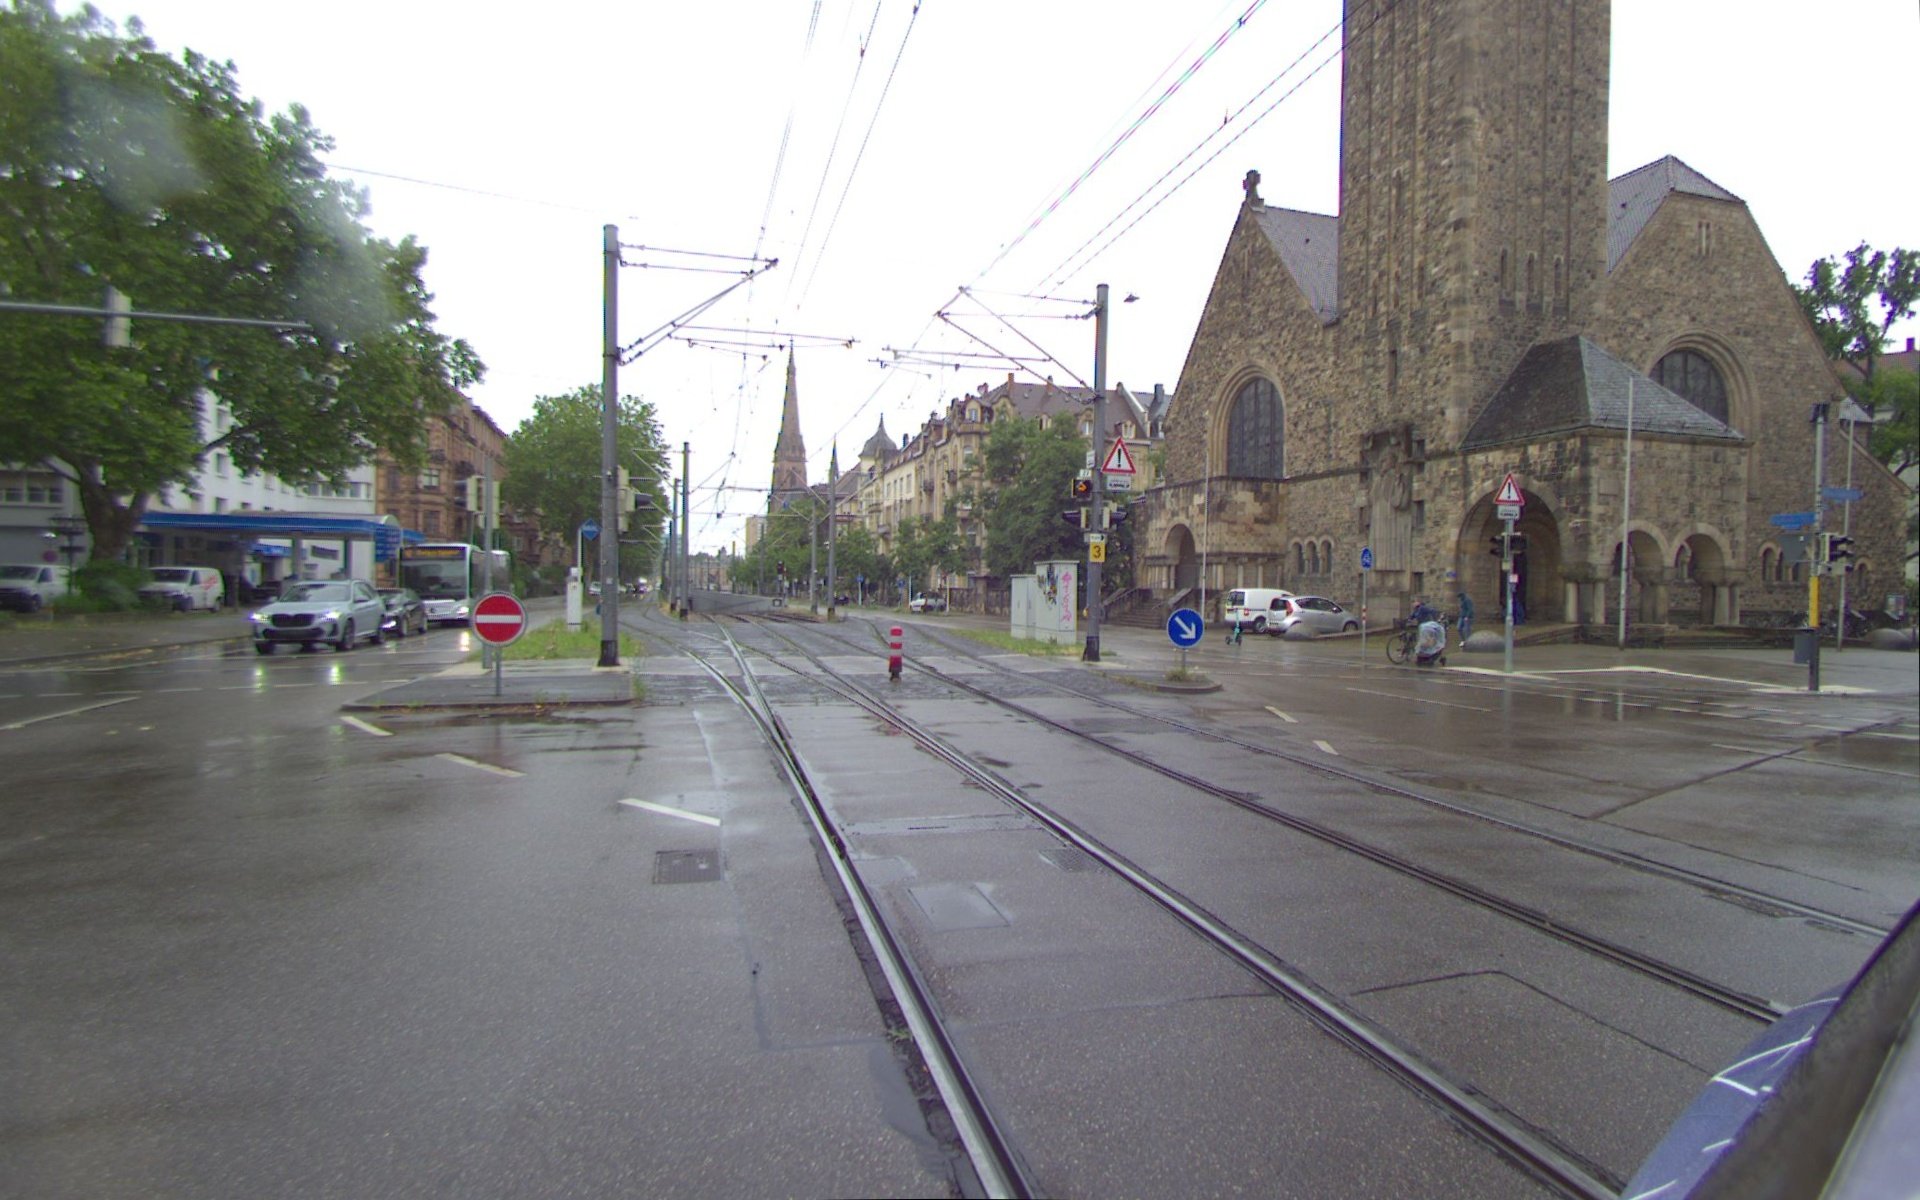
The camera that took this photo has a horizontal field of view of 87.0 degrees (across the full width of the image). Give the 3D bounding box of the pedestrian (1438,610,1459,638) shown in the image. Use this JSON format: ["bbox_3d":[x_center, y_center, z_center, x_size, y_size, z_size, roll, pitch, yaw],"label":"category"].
[{"bbox_3d":[15.942,0.781,33.041,0.388,0.895,0.457,1,0,-21],"label":"pedestrian"}]

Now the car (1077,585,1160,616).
[{"bbox_3d":[8.467,0.022,54.260,3.915,1.638,2.004,0,1,-17],"label":"car"}]

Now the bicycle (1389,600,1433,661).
[{"bbox_3d":[11.482,0.751,25.726,0.531,1.485,1.913,1,0,39],"label":"bicycle"}]

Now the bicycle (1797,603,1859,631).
[{"bbox_3d":[36.364,0.706,42.434,0.569,1.073,1.933,1,1,-19],"label":"bicycle"}]

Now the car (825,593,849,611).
[{"bbox_3d":[-12.708,0.203,104.472,1.744,1.799,4.009,0,1,-17],"label":"car"}]

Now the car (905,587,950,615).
[{"bbox_3d":[-2.261,0.063,70.330,1.939,1.816,4.009,1,1,-20],"label":"car"}]

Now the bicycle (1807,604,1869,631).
[{"bbox_3d":[37.081,0.730,42.755,0.569,1.073,1.933,1,1,-19],"label":"bicycle"}]

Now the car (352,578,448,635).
[{"bbox_3d":[-17.024,0.158,30.955,1.741,1.620,4.188,1,1,-18],"label":"car"}]

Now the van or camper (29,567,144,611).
[{"bbox_3d":[-34.576,-0.470,40.217,1.958,1.619,4.681,1,1,-21],"label":"van or camper"}]

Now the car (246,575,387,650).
[{"bbox_3d":[-15.456,0.248,24.575,1.754,1.620,4.565,1,1,-18],"label":"car"}]

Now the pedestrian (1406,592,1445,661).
[{"bbox_3d":[11.632,0.664,25.285,0.676,1.684,0.604,1,0,-38],"label":"pedestrian"}]

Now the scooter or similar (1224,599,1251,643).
[{"bbox_3d":[9.229,0.685,33.643,0.280,1.404,1.106,1,0,-18],"label":"scooter or similar"}]

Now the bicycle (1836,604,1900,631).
[{"bbox_3d":[38.677,0.730,43.139,0.593,1.080,1.987,1,1,-18],"label":"bicycle"}]

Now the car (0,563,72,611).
[{"bbox_3d":[-37.343,-0.551,40.180,1.702,1.801,4.271,1,1,-20],"label":"car"}]

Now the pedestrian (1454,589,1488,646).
[{"bbox_3d":[15.702,0.518,31.121,0.664,1.724,0.635,1,0,-21],"label":"pedestrian"}]

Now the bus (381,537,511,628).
[{"bbox_3d":[-20.570,-0.704,41.253,2.832,3.152,12.129,1,1,-18],"label":"bus"}]

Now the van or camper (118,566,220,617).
[{"bbox_3d":[-32.328,-0.362,41.513,1.958,1.939,4.681,1,1,-21],"label":"van or camper"}]

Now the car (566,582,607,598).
[{"bbox_3d":[-40.298,-1.098,109.226,3.755,1.644,1.773,0,1,-42],"label":"car"}]

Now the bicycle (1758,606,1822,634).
[{"bbox_3d":[34.554,0.827,42.147,0.564,1.062,2.013,1,1,-24],"label":"bicycle"}]

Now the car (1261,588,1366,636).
[{"bbox_3d":[13.413,0.428,38.436,3.288,1.593,1.740,-3,1,-15],"label":"car"}]

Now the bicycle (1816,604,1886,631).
[{"bbox_3d":[37.744,0.731,42.890,0.663,1.073,2.161,1,1,-19],"label":"bicycle"}]

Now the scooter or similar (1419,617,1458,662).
[{"bbox_3d":[11.741,0.970,24.822,0.907,1.062,0.514,1,0,-39],"label":"scooter or similar"}]

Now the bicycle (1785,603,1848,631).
[{"bbox_3d":[35.742,0.694,42.271,0.569,1.073,1.932,1,1,-22],"label":"bicycle"}]

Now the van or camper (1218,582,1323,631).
[{"bbox_3d":[12.795,0.231,41.717,3.848,1.749,1.652,-3,2,-17],"label":"van or camper"}]

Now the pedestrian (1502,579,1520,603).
[{"bbox_3d":[20.656,-0.338,37.944,0.447,0.895,0.397,1,0,-18],"label":"pedestrian"}]

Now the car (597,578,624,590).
[{"bbox_3d":[-50.654,-2.306,146.736,3.740,1.644,1.780,1,1,-17],"label":"car"}]
